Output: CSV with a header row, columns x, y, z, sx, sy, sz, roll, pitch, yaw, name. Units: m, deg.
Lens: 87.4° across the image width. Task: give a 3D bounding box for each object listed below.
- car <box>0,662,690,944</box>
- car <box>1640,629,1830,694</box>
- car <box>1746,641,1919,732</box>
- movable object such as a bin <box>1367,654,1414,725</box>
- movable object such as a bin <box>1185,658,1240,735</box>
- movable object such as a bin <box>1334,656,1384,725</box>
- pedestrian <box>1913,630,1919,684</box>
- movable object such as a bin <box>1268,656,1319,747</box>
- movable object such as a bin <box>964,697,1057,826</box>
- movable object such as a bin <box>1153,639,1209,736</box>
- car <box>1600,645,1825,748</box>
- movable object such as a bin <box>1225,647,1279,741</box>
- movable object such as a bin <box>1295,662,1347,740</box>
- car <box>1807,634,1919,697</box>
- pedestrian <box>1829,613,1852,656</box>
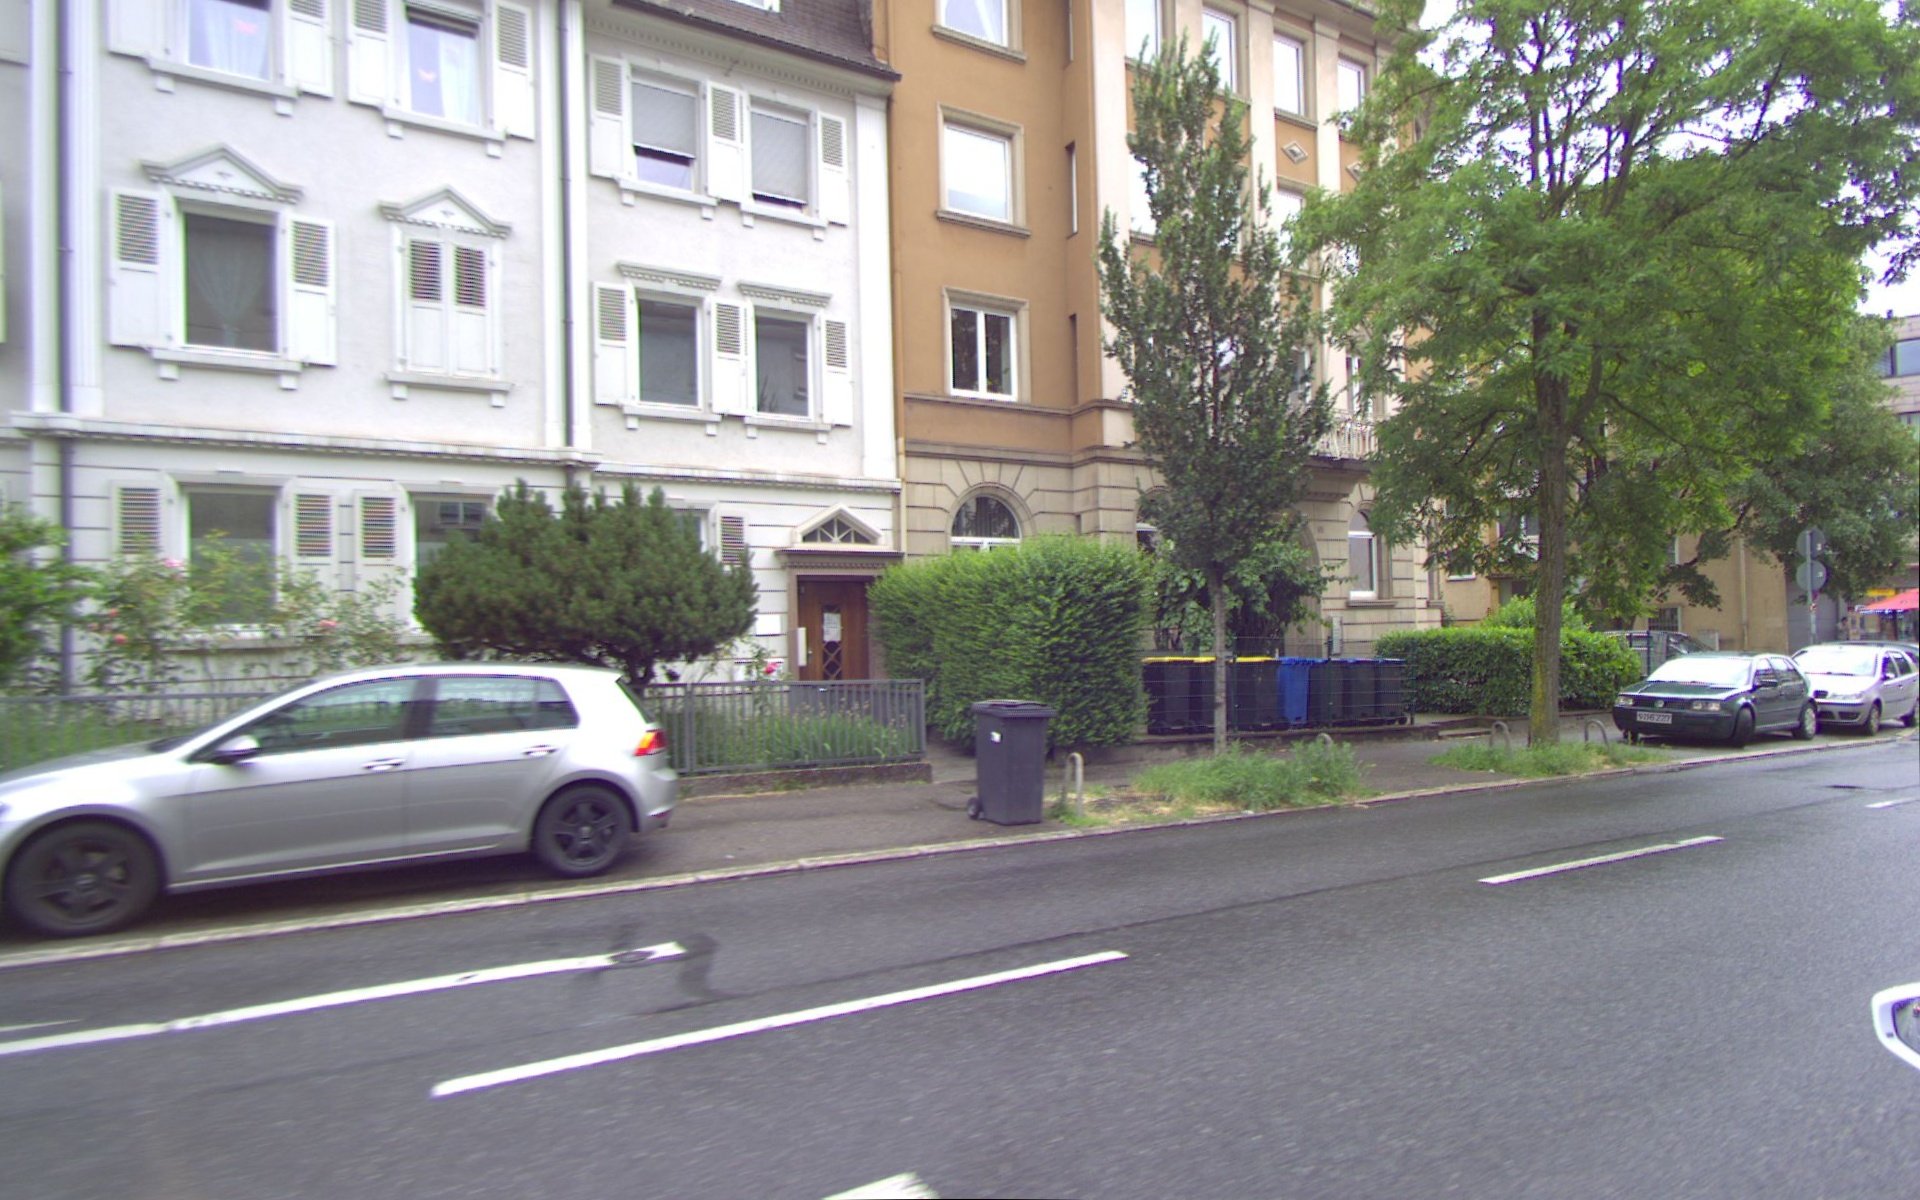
x,y,z,sx,sy,sz,roll,pitch,yaw,name
-3.995,1.156,6.809,3.889,1.408,1.675,2,-2,-30,car
21.132,1.616,27.537,1.673,1.603,3.792,-1,-1,-30,car
16.198,1.515,18.497,3.800,1.473,1.622,1,-2,-34,car
6.932,1.432,16.188,0.583,1.095,0.437,1,-2,-31,movable object such as a bin
3.583,1.352,14.278,0.642,1.053,0.437,1,-2,-31,movable object such as a bin
6.328,1.424,15.926,0.643,1.054,0.424,1,-2,-31,movable object such as a bin
31.701,1.856,32.604,0.708,1.754,1.053,0,-1,-39,pedestrian
5.023,1.515,15.119,0.602,1.326,0.437,1,-2,-31,movable object such as a bin
0.452,1.432,9.071,0.593,1.072,0.627,2,-3,-30,movable object such as a bin
3.083,1.205,14.034,0.642,1.316,0.437,1,-2,-31,movable object such as a bin
12.331,1.479,16.403,3.898,1.473,1.645,1,-2,-32,car
4.253,1.352,14.641,0.642,1.326,0.437,1,-2,-31,movable object such as a bin
5.549,1.533,15.440,0.650,1.145,0.437,1,-2,-31,movable object such as a bin
23.057,1.601,24.136,1.722,1.408,3.797,3,-2,-30,car
37.848,1.489,43.190,0.624,1.840,0.636,-1,-1,32,pedestrian
